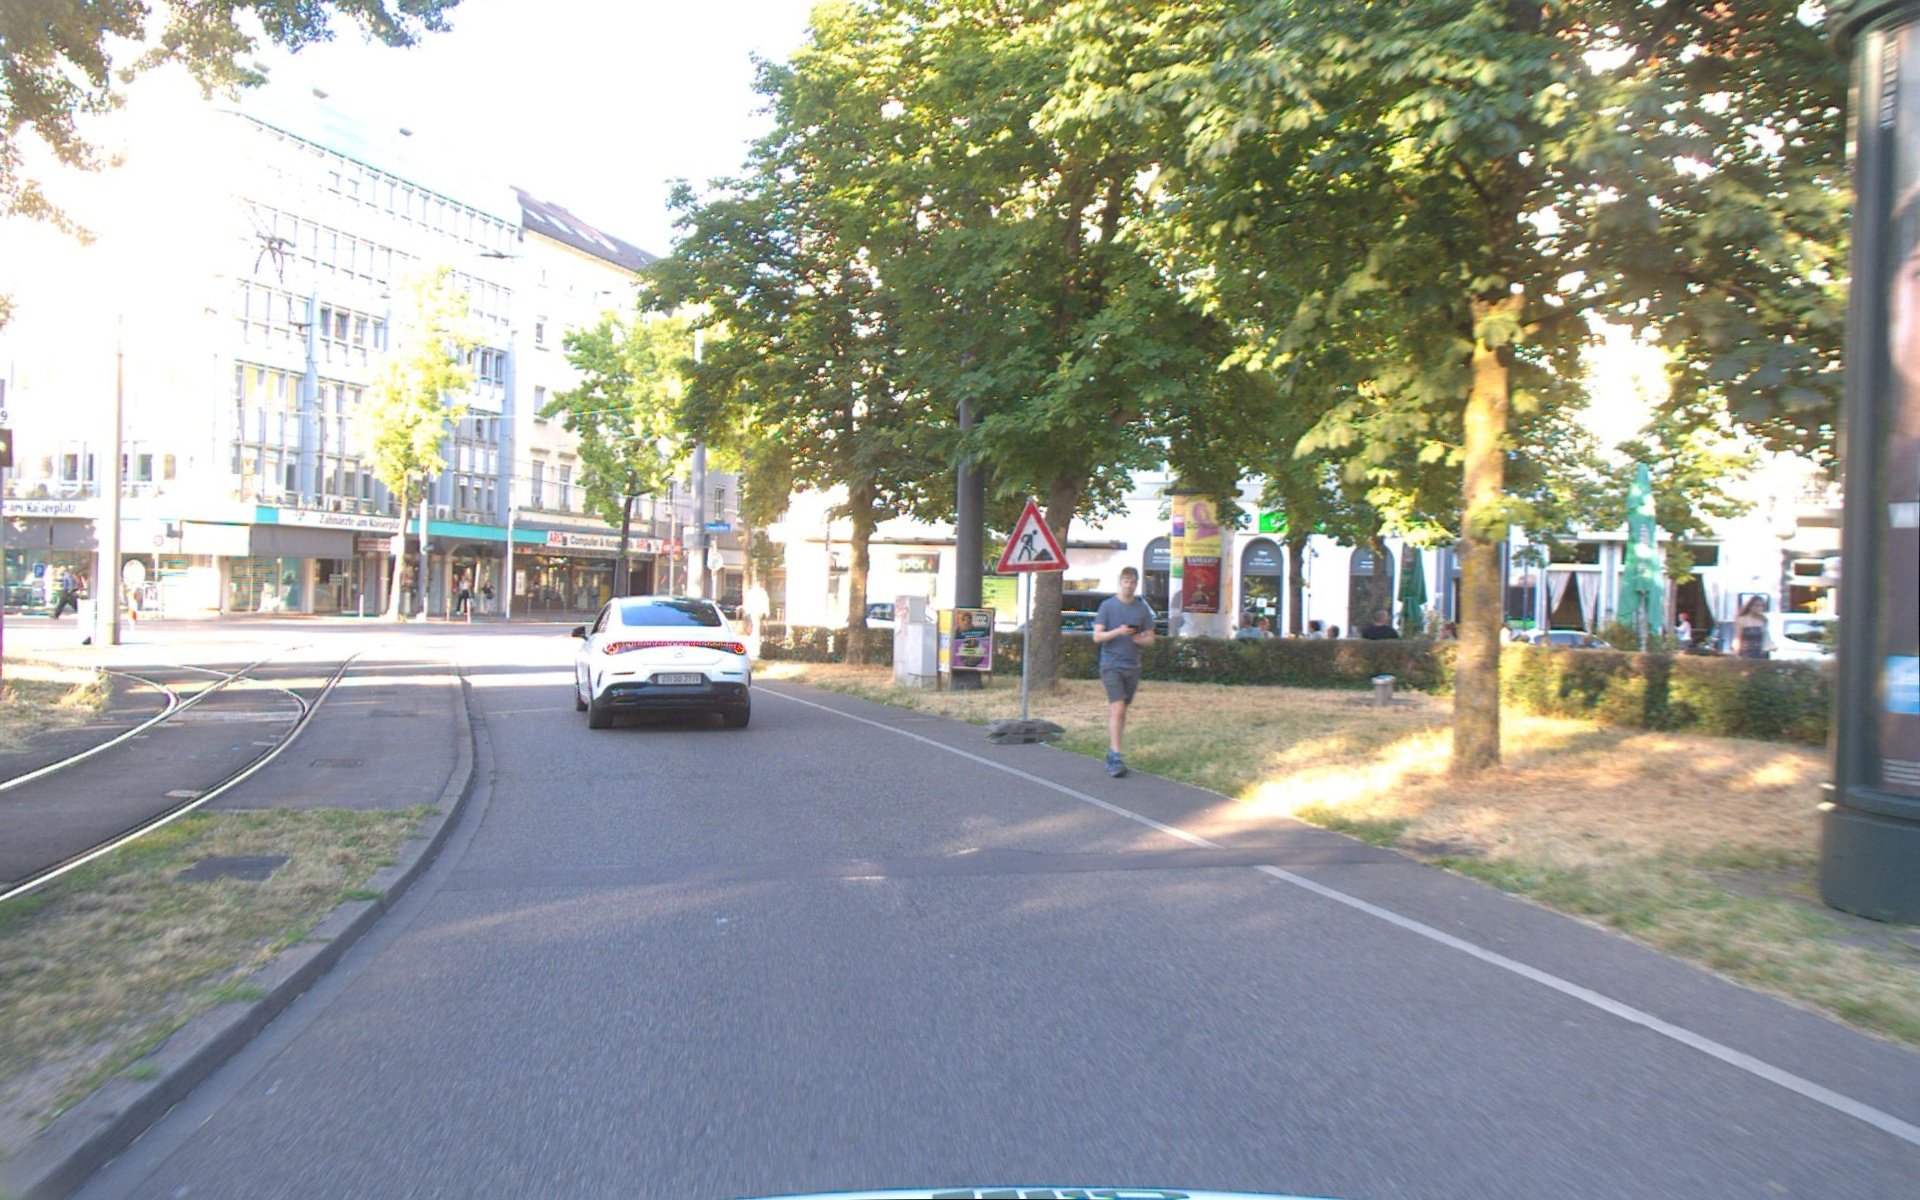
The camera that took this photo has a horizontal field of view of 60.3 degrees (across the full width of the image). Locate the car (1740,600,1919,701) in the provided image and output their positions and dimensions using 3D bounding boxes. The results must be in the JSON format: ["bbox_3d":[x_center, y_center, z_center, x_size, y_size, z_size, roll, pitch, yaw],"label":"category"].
[{"bbox_3d":[19.797,1.116,36.567,4.329,2.049,2.001,2,0,18],"label":"car"}]

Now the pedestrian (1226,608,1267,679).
[{"bbox_3d":[5.222,0.779,30.146,0.556,1.266,0.612,1,-1,26],"label":"pedestrian"}]

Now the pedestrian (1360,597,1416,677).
[{"bbox_3d":[7.540,0.651,29.115,0.716,1.379,1.013,0,-1,30],"label":"pedestrian"}]

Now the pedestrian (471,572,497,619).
[{"bbox_3d":[-21.121,-0.184,73.375,0.780,2.049,0.734,2,-1,18],"label":"pedestrian"}]

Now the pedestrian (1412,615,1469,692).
[{"bbox_3d":[8.460,0.937,29.098,0.649,1.264,0.950,6,0,30],"label":"pedestrian"}]

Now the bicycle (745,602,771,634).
[{"bbox_3d":[-7.286,0.653,59.687,0.346,1.095,1.700,2,0,13],"label":"bicycle"}]

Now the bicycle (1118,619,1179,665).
[{"bbox_3d":[4.005,0.896,35.077,0.545,0.946,1.522,1,-1,39],"label":"bicycle"}]

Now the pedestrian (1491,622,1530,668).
[{"bbox_3d":[15.621,1.274,46.931,1.002,1.267,0.687,1,0,16],"label":"pedestrian"}]

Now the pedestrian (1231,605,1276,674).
[{"bbox_3d":[5.583,0.739,31.434,0.761,1.264,0.989,2,0,13],"label":"pedestrian"}]

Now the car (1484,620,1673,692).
[{"bbox_3d":[15.995,1.421,43.002,4.402,1.645,2.024,2,0,16],"label":"car"}]

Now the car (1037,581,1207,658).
[{"bbox_3d":[4.570,0.535,46.399,4.402,1.998,2.025,2,0,16],"label":"car"}]

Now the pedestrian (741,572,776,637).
[{"bbox_3d":[-6.542,0.149,53.681,0.823,2.049,0.847,2,-1,11],"label":"pedestrian"}]

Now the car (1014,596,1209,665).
[{"bbox_3d":[3.789,0.732,41.230,4.559,1.540,1.740,2,0,16],"label":"car"}]

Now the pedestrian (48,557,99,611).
[{"bbox_3d":[-29.005,-0.535,54.113,0.889,1.732,1.159,1,-1,34],"label":"pedestrian"}]

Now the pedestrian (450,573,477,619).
[{"bbox_3d":[-22.086,-0.174,73.595,0.780,2.049,0.734,2,-1,18],"label":"pedestrian"}]

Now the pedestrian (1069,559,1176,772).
[{"bbox_3d":[1.401,0.549,14.253,0.636,1.774,0.581,2,0,-37],"label":"pedestrian"}]

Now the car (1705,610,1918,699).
[{"bbox_3d":[21.326,1.338,41.632,4.402,1.998,2.024,2,0,16],"label":"car"}]

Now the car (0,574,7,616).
[{"bbox_3d":[-36.070,-0.256,58.572,3.907,1.511,2.026,2,0,23],"label":"car"}]

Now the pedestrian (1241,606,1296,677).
[{"bbox_3d":[6.145,0.828,32.975,0.929,1.305,0.664,6,0,9],"label":"pedestrian"}]

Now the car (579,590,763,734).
[{"bbox_3d":[-3.521,0.651,19.635,1.837,1.494,4.027,1,0,-14],"label":"car"}]

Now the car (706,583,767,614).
[{"bbox_3d":[-12.737,-0.087,94.533,1.921,1.668,4.002,2,0,18],"label":"car"}]

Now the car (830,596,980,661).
[{"bbox_3d":[-1.416,0.715,42.872,3.490,1.540,1.740,2,0,16],"label":"car"}]
